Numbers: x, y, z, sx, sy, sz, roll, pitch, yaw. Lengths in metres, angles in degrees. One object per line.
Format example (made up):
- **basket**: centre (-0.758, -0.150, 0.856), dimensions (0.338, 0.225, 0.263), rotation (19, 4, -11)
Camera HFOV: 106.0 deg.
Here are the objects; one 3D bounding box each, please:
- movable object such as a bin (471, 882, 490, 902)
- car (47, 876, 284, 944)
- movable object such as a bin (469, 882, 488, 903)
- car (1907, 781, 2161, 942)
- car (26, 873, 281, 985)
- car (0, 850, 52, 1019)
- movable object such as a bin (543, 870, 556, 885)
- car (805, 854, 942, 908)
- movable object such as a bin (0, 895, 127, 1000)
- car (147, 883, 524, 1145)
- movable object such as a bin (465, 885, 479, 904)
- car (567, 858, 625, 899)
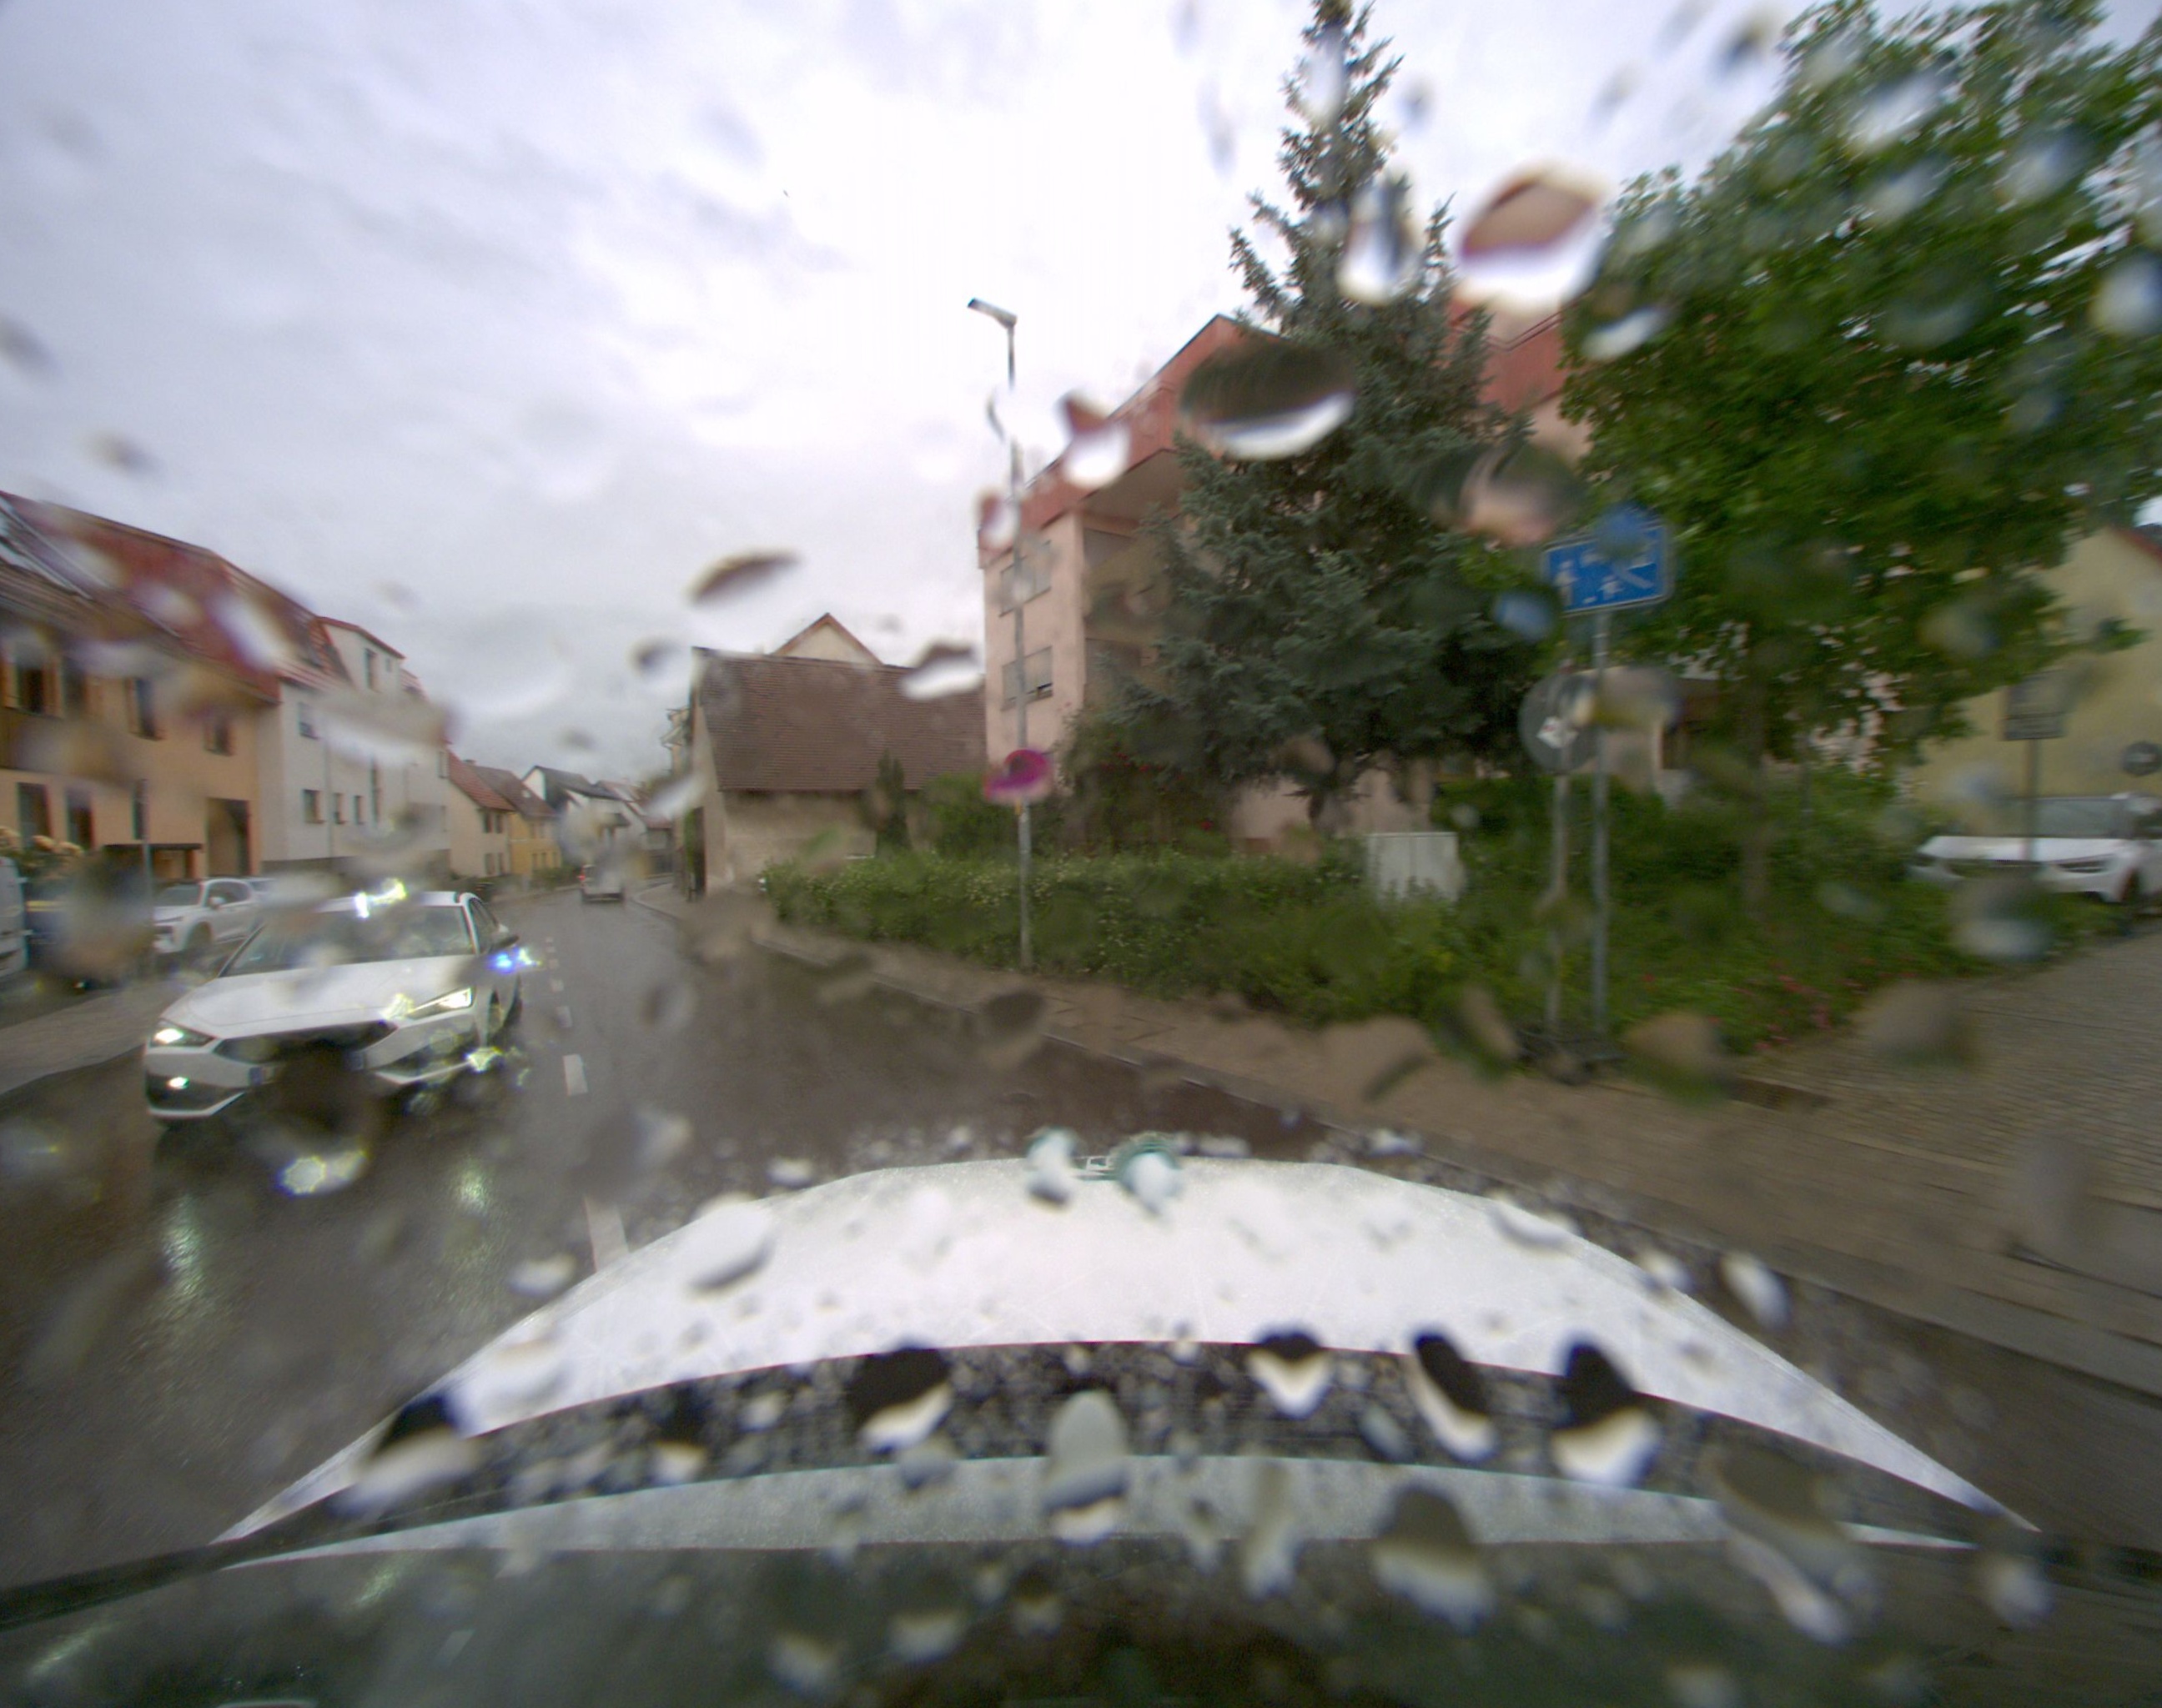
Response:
- **movable object such as a bin**: centre (-32.514, 2.043, 44.093), dimensions (0.685, 1.045, 0.655), rotation (0, -1, -26)
- **car**: centre (-25.462, 1.494, 22.882), dimensions (4.012, 1.670, 1.860), rotation (0, -1, -30)
- **movable object such as a bin**: centre (-32.062, 2.033, 43.313), dimensions (0.685, 1.066, 0.689), rotation (0, -1, -26)
- **car**: centre (12.199, -0.022, 10.140), dimensions (3.947, 1.677, 1.591), rotation (-3, 3, -27)
- **car**: centre (-17.662, 1.291, 15.840), dimensions (1.825, 1.706, 4.573), rotation (-2, 0, -30)
- **car**: centre (-15.136, 0.900, 8.865), dimensions (4.547, 1.979, 1.976), rotation (2, -1, -42)
- **movable object such as a bin**: centre (-38.978, 1.709, 59.767), dimensions (0.662, 1.056, 0.757), rotation (1, -1, -24)
- **car**: centre (-7.200, 0.879, 28.415), dimensions (4.247, 1.649, 1.883), rotation (-2, 0, -33)
- **movable object such as a bin**: centre (-14.873, 1.320, 11.705), dimensions (1.296, 1.368, 0.985), rotation (-2, 0, -37)
- **car**: centre (-5.931, 1.029, 7.034), dimensions (1.598, 1.409, 4.166), rotation (-4, 1, -32)
- **movable object such as a bin**: centre (-31.841, 2.117, 42.594), dimensions (0.509, 0.922, 0.574), rotation (0, -1, -28)
- **car**: centre (-23.914, 1.177, 40.282), dimensions (2.208, 1.851, 4.265), rotation (-2, 0, -28)
